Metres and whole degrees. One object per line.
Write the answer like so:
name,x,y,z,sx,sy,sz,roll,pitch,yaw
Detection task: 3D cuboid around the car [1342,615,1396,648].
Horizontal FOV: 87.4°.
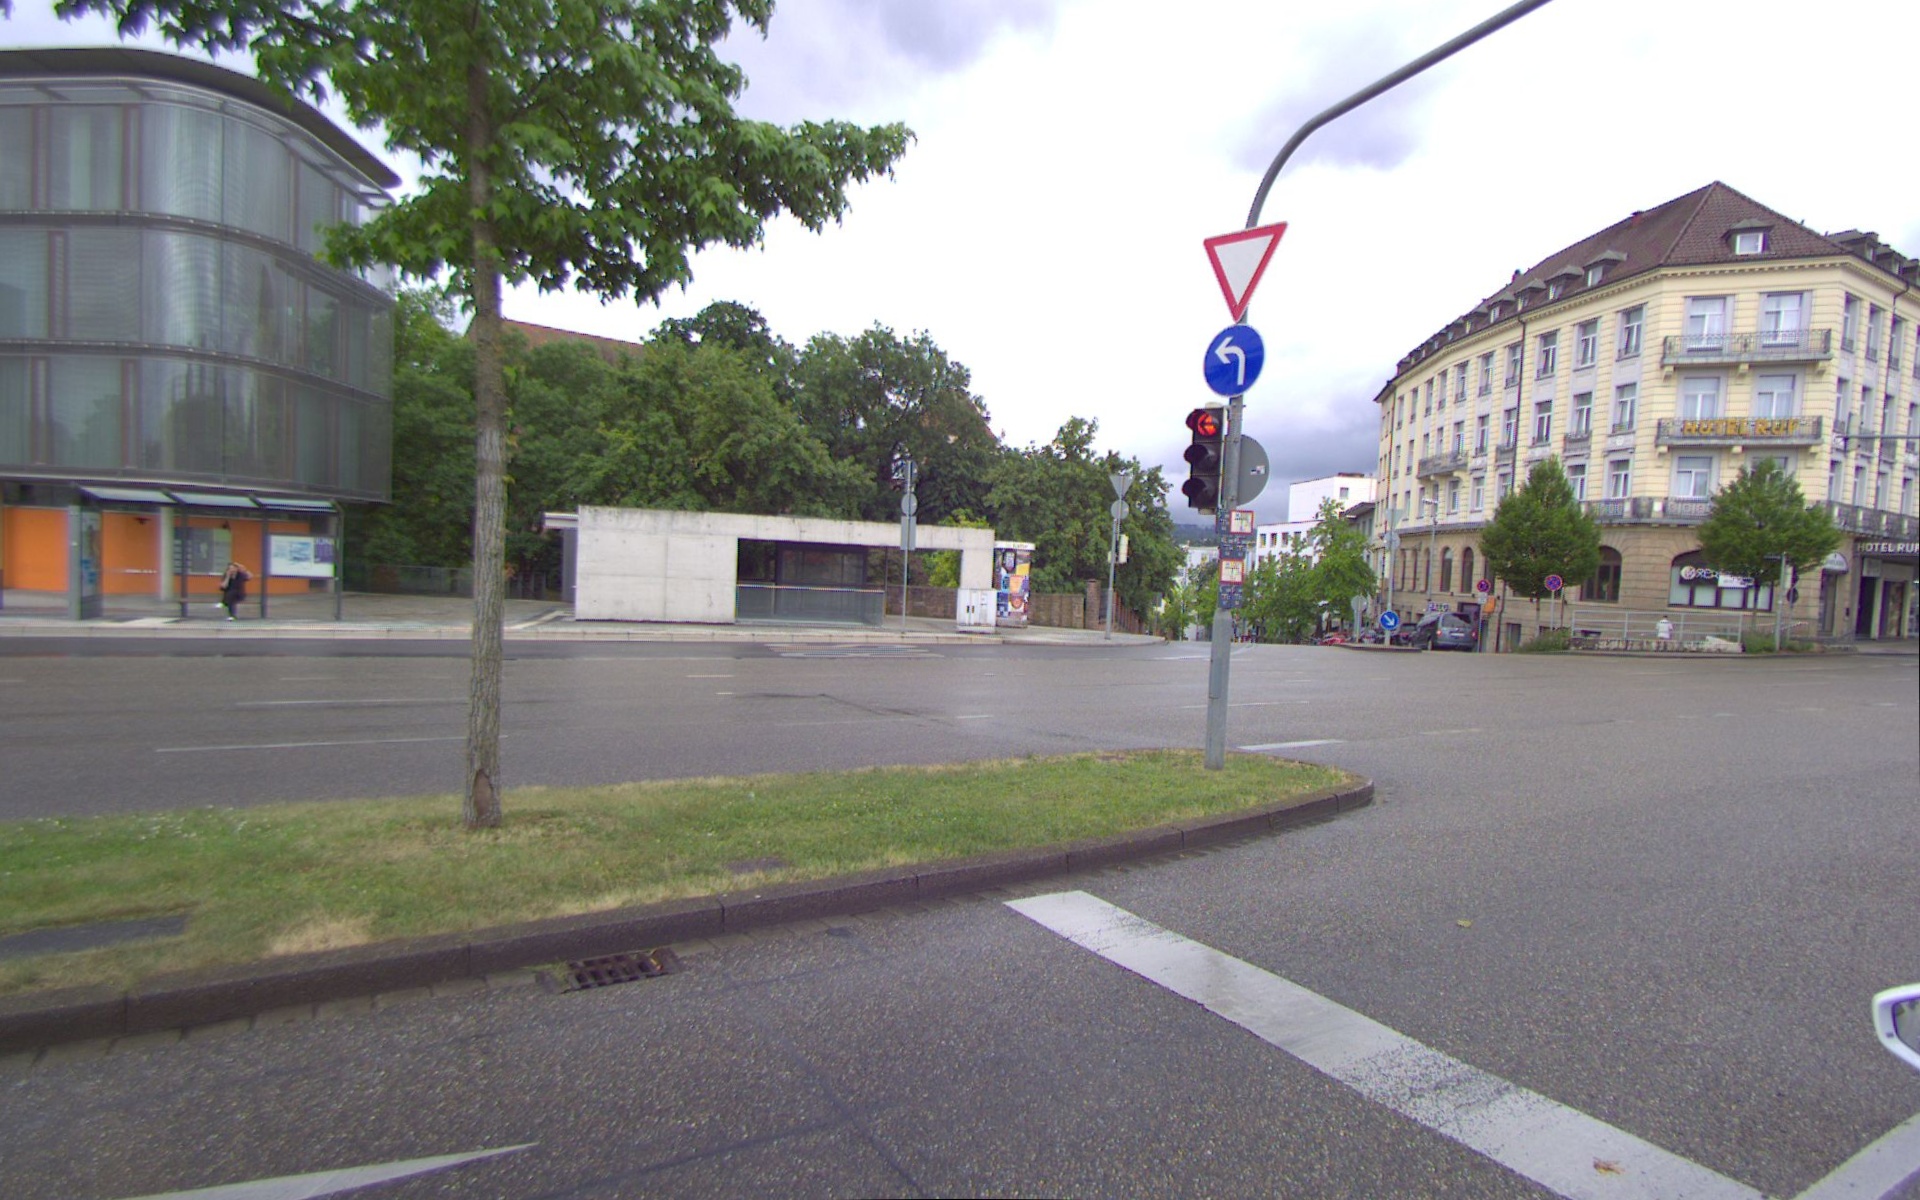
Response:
car,23.170,1.769,57.003,1.757,1.662,3.916,2,1,6

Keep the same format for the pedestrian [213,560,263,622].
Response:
pedestrian,-16.077,-0.194,22.390,0.780,1.341,0.798,1,1,-28

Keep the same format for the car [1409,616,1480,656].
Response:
car,21.742,1.572,45.197,1.764,1.589,4.002,2,1,9

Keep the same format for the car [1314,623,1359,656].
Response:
car,23.594,2.473,63.057,1.741,1.836,3.624,2,1,7

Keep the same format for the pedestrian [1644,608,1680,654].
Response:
pedestrian,29.607,1.304,42.371,1.010,1.903,0.859,1,1,-30

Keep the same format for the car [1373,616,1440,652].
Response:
car,22.915,1.714,51.704,1.959,1.662,4.002,2,0,6
